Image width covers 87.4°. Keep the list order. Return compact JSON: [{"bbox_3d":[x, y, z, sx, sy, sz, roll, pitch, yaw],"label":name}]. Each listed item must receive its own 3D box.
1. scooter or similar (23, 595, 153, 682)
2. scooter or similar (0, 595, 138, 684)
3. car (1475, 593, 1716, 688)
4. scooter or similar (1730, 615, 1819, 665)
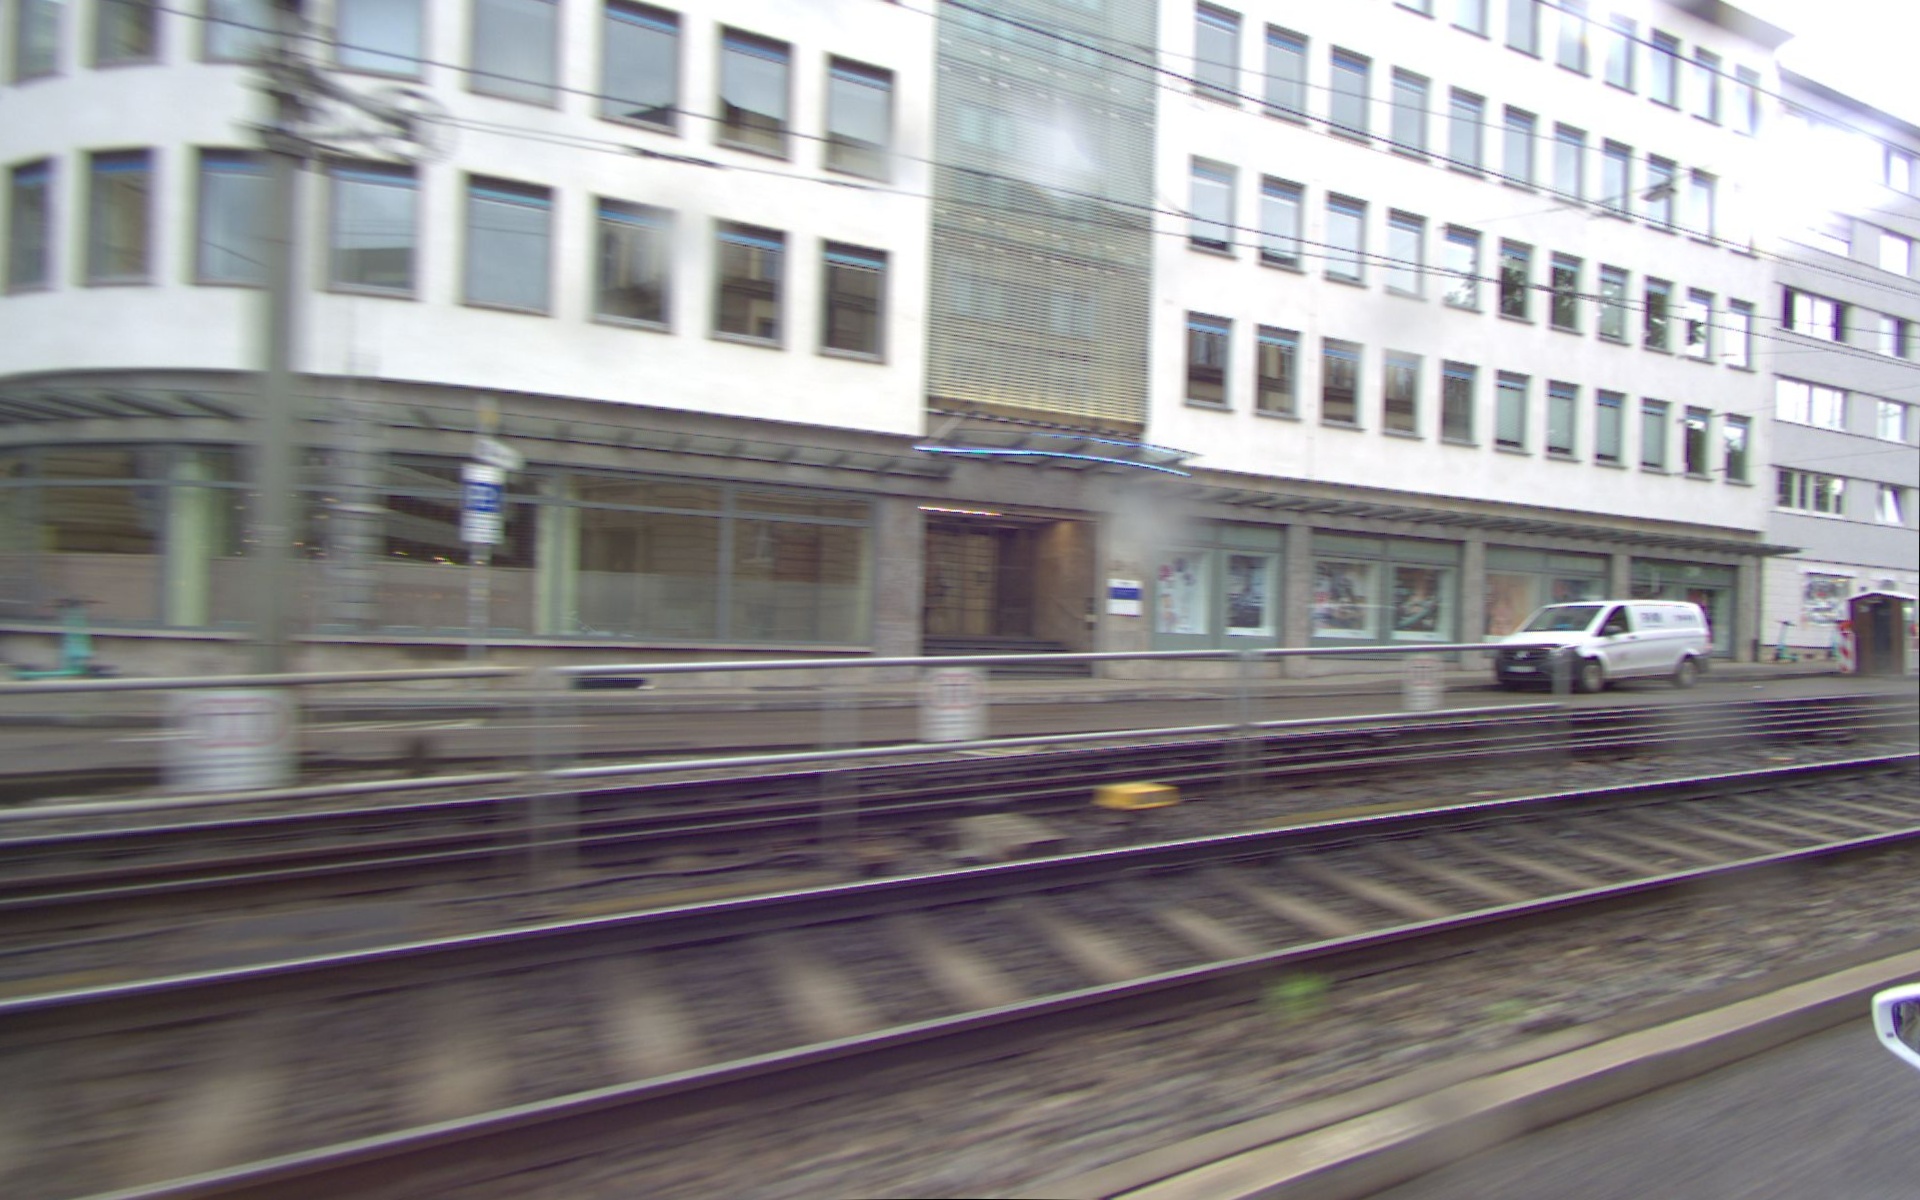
[{"bbox_3d":[-12.937,0.568,14.912,1.529,1.216,0.411,2,1,-1],"label":"scooter or similar"},{"bbox_3d":[-12.803,0.567,14.428,1.531,1.216,0.410,2,1,-7],"label":"scooter or similar"},{"bbox_3d":[13.679,0.871,21.582,5.063,1.867,1.987,2,-1,-25],"label":"car"},{"bbox_3d":[24.091,1.194,29.686,3.046,1.393,0.694,2,1,-24],"label":"scooter or similar"}]
